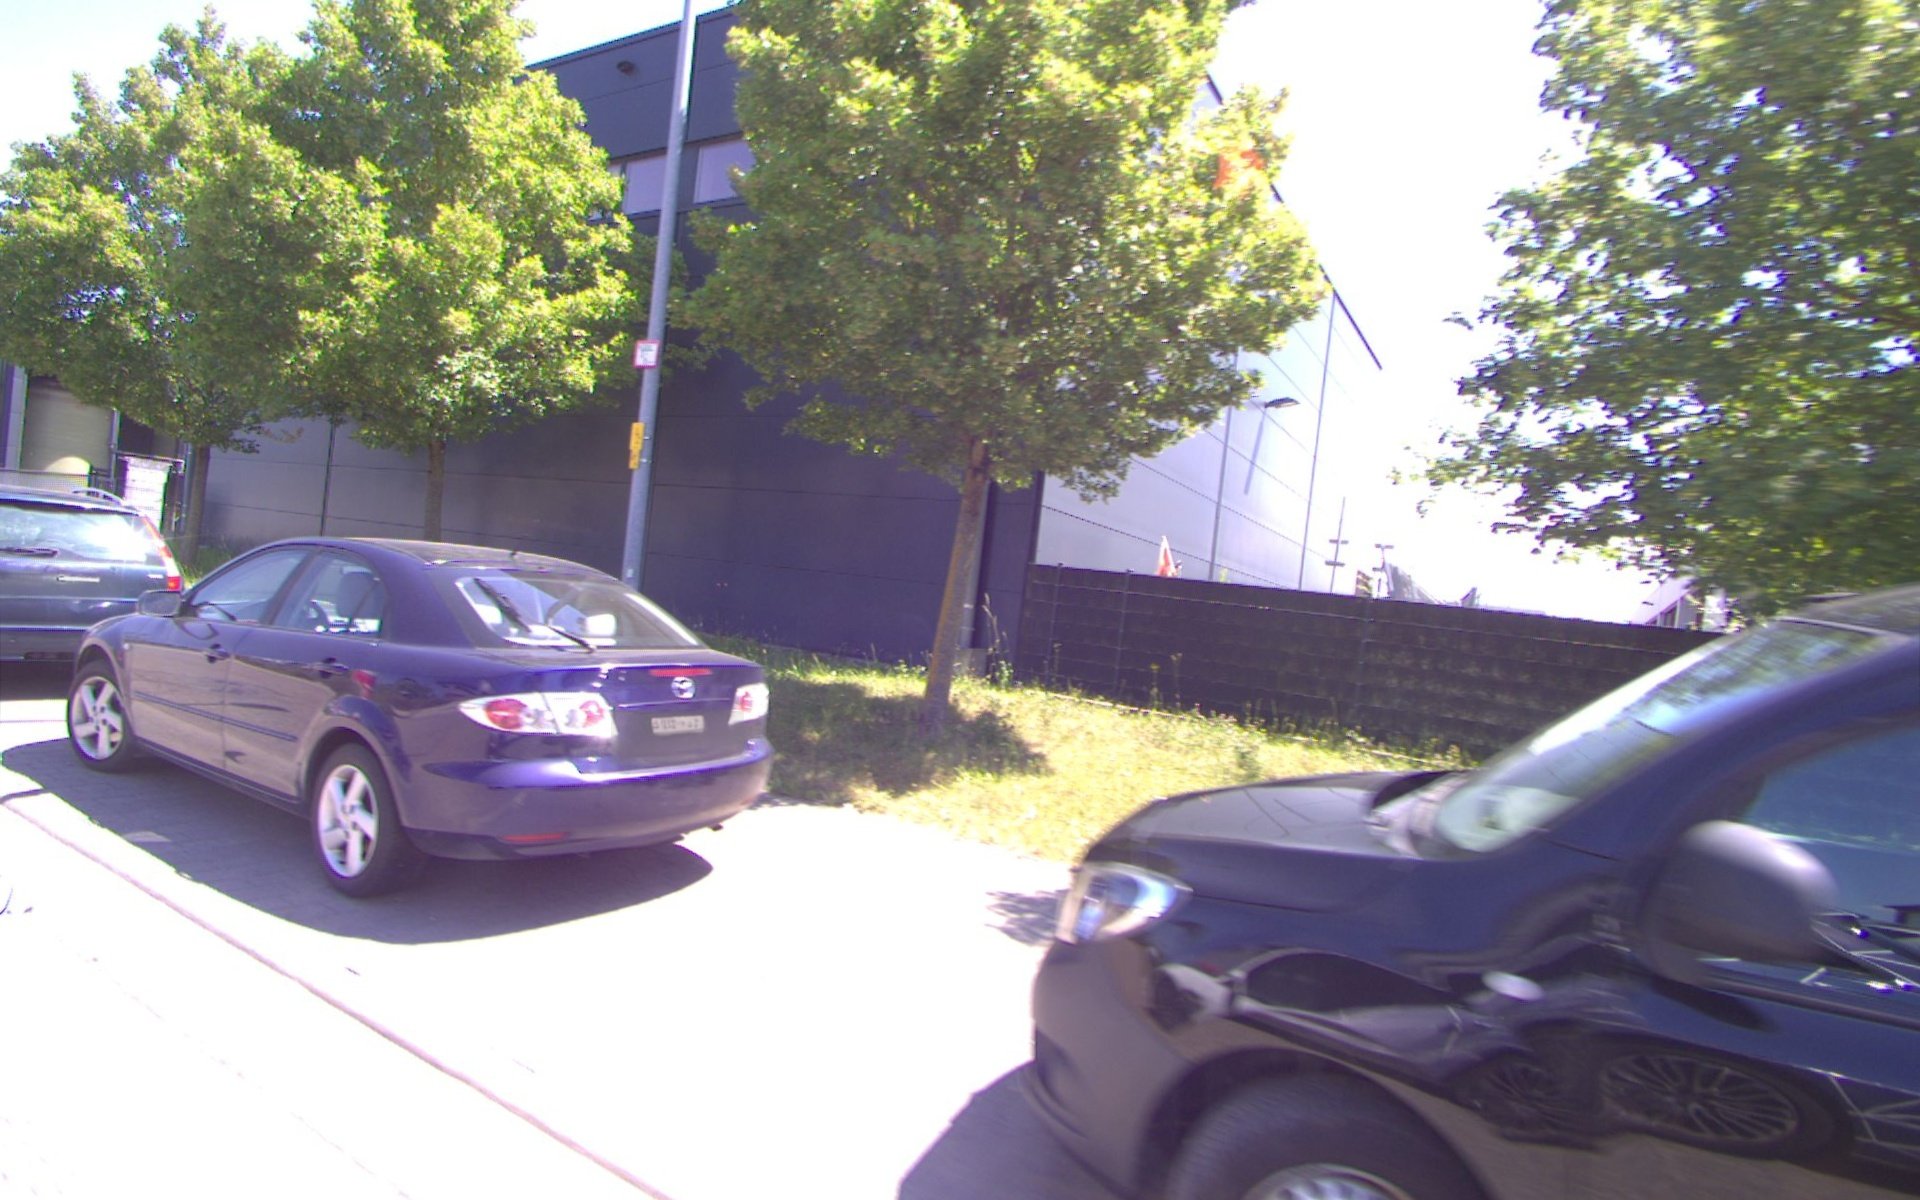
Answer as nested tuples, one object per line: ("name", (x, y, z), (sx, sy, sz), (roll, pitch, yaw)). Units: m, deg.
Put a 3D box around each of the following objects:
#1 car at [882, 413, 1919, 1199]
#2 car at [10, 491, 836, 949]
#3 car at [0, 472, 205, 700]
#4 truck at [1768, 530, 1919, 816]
("car", (2.230, 0.761, 2.022), (4.282, 1.848, 1.995), (6, 0, 32))
("car", (-3.123, 0.341, 5.498), (4.635, 1.449, 1.852), (6, 0, 32))
("car", (-8.123, -0.262, 8.324), (4.634, 1.523, 1.708), (6, 0, 37))
("truck", (14.284, 1.078, 12.810), (2.981, 3.870, 10.005), (6, 0, 21))
